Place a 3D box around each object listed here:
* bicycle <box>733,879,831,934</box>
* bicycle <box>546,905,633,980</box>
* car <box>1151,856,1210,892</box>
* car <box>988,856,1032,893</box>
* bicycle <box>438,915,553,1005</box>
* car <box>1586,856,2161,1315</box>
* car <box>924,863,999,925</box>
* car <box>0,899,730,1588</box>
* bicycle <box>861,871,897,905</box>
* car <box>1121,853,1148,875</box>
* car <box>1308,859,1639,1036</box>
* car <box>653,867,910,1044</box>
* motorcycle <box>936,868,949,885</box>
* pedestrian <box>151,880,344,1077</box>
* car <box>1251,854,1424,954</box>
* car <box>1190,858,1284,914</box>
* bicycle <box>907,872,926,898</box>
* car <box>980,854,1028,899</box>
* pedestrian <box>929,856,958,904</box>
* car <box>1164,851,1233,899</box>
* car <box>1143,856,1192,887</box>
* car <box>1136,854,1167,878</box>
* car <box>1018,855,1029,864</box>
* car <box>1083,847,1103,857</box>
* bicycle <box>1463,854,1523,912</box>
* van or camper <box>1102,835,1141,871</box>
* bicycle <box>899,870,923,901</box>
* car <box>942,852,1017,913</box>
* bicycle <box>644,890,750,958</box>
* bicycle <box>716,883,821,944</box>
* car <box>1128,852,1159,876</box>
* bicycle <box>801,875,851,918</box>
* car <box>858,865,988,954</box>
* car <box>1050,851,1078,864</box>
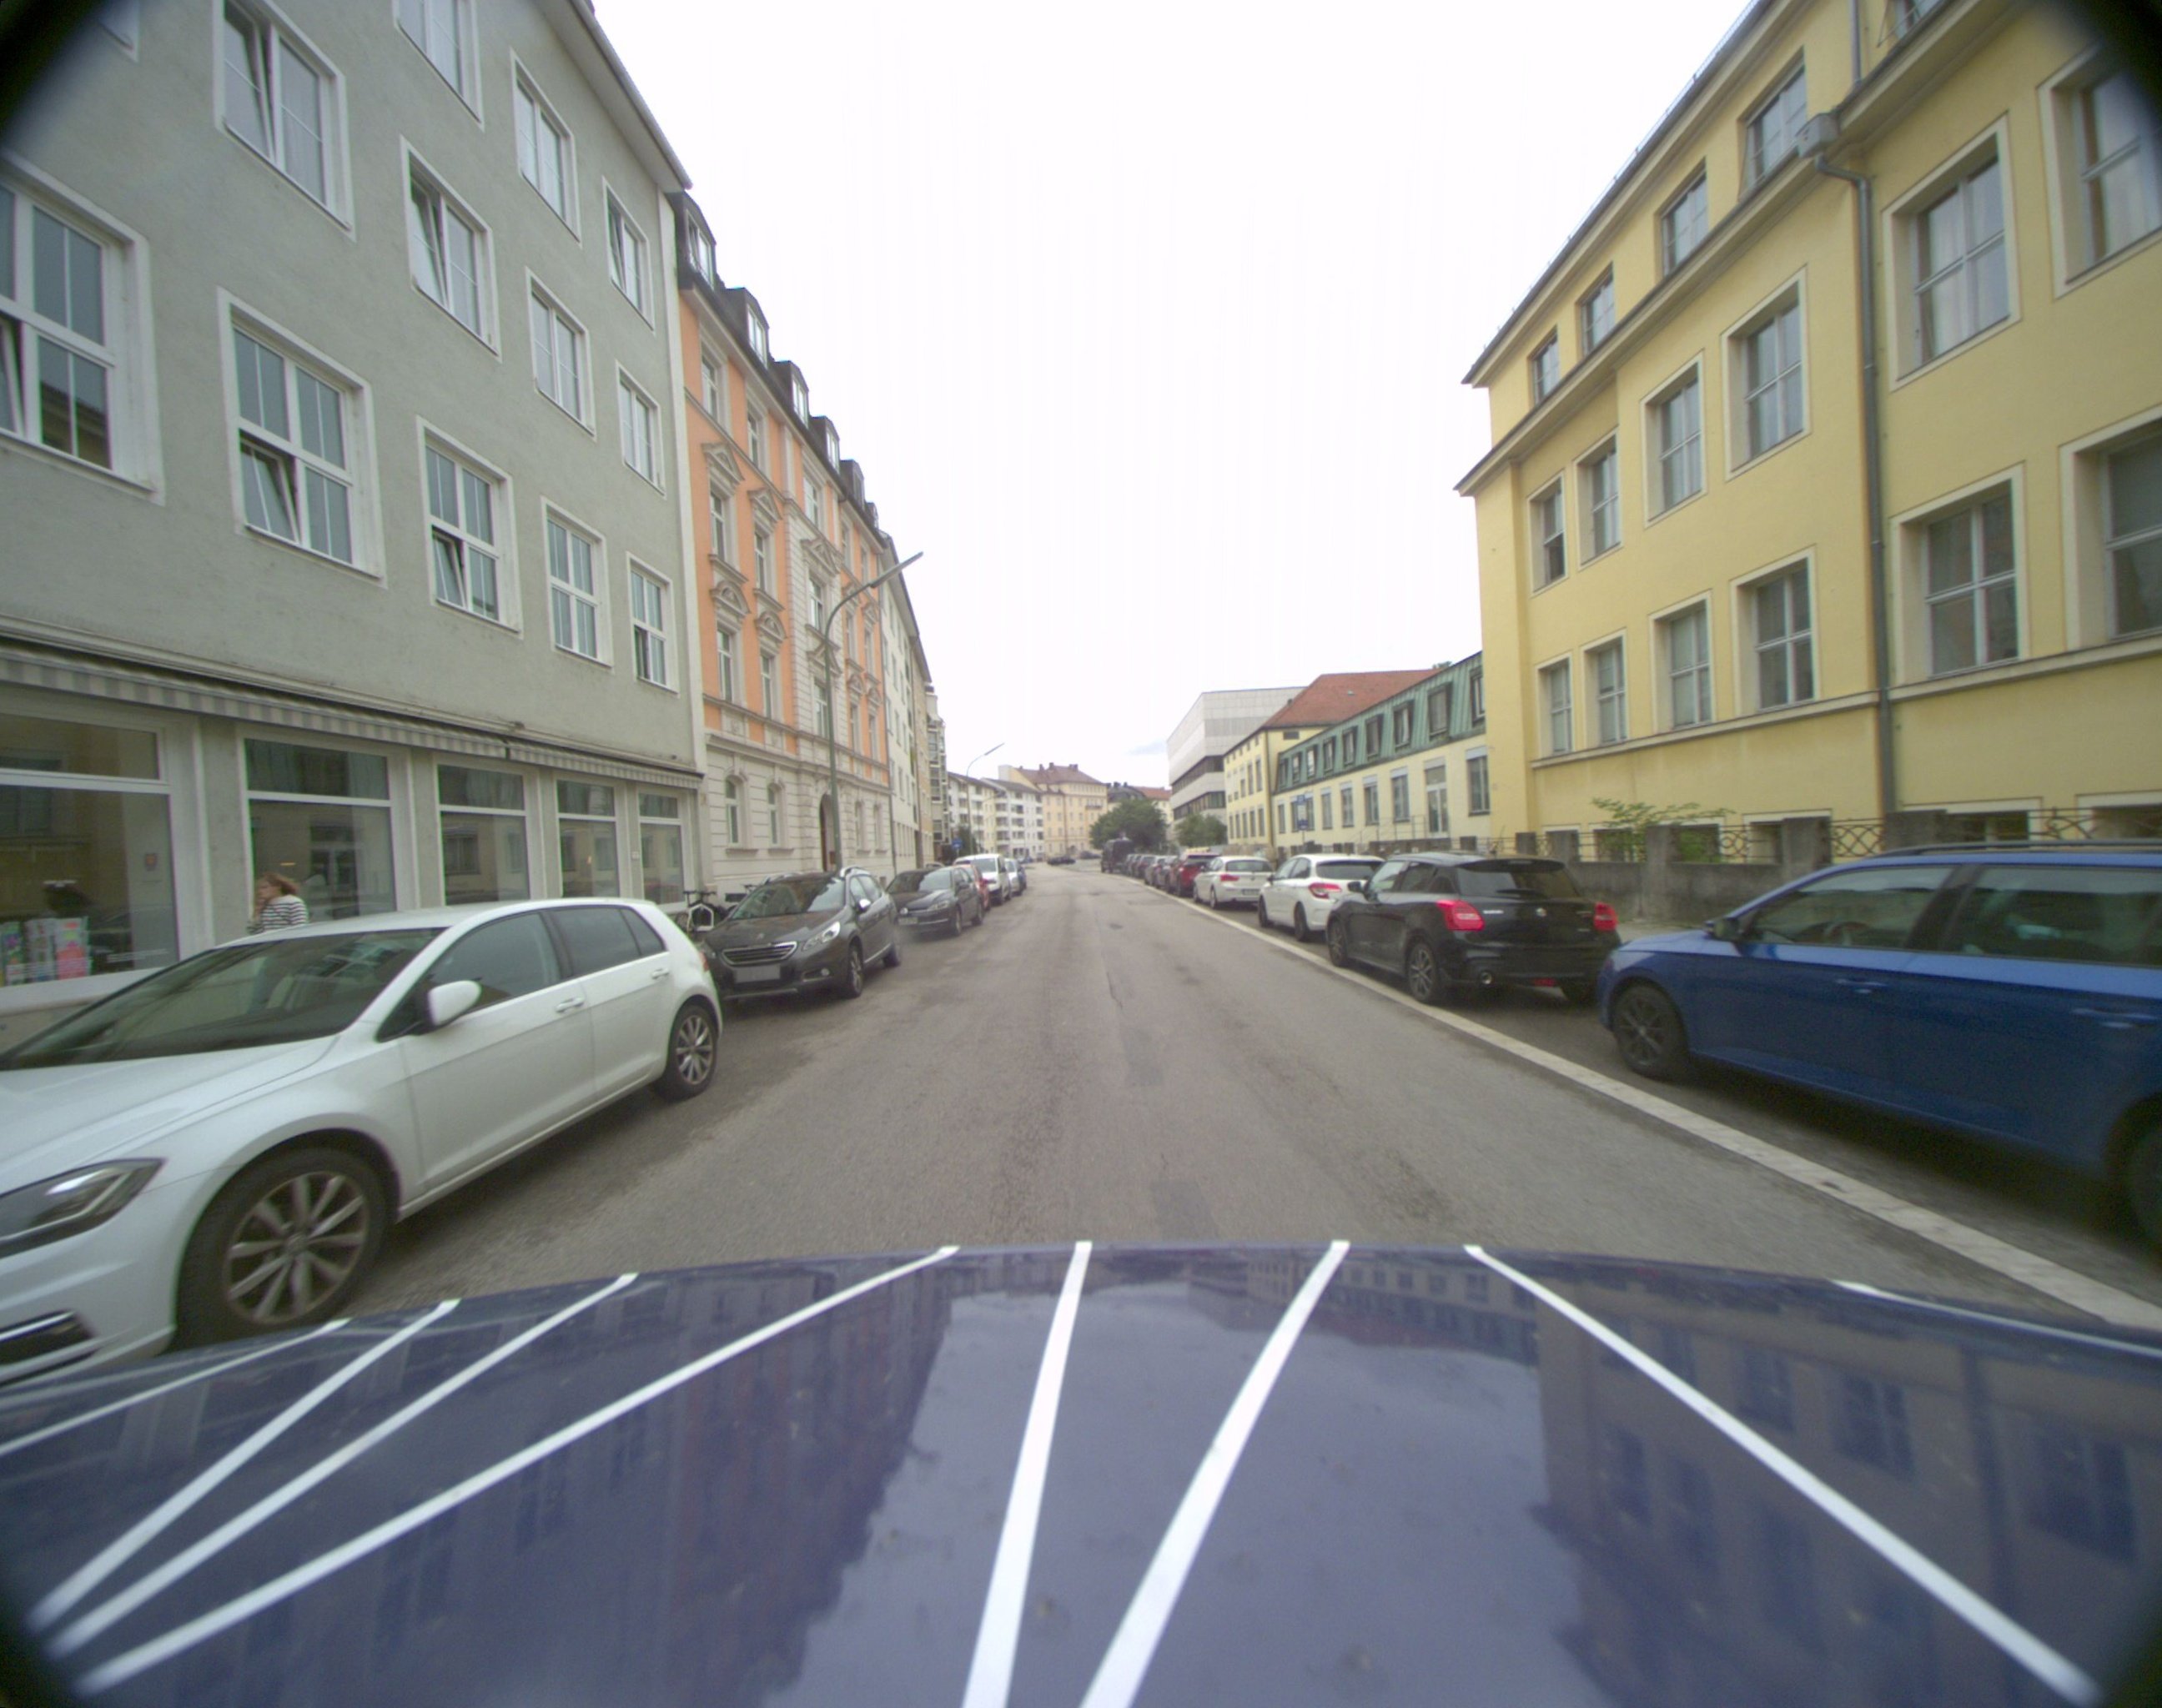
[{"bbox_3d":[-7.157,1.228,18.265,0.607,1.176,2.100,-2,-1,43],"label":"bicycle"},{"bbox_3d":[-7.802,1.372,12.122,0.331,0.998,1.521,-2,0,1],"label":"bicycle"},{"bbox_3d":[4.084,0.786,31.695,1.679,1.397,3.989,0,0,-4],"label":"car"},{"bbox_3d":[-3.499,0.976,37.978,1.745,1.578,4.200,-5,0,-1],"label":"car"},{"bbox_3d":[-7.881,1.394,10.304,0.331,0.998,1.521,-2,0,1],"label":"bicycle"},{"bbox_3d":[4.403,0.778,3.300,1.684,1.496,3.972,0,0,-2],"label":"car"},{"bbox_3d":[-3.382,1.073,22.260,1.603,1.443,4.300,-5,0,-3],"label":"car"},{"bbox_3d":[-3.555,1.155,3.590,1.696,1.455,4.083,-5,1,1],"label":"car"},{"bbox_3d":[-7.390,1.228,27.925,0.652,1.176,2.096,-2,-1,2],"label":"bicycle"},{"bbox_3d":[3.924,0.703,56.534,1.642,1.553,3.838,0,0,-2],"label":"car"},{"bbox_3d":[4.004,0.829,8.595,1.684,1.487,3.985,0,0,0],"label":"car"},{"bbox_3d":[-3.552,1.086,9.905,1.697,1.574,4.082,-6,1,-2],"label":"car"},{"bbox_3d":[-9.866,1.568,54.027,0.629,1.119,1.798,-3,0,-4],"label":"motorcycle"},{"bbox_3d":[-7.443,1.072,6.835,0.736,1.616,0.828,-2,1,1],"label":"pedestrian"},{"bbox_3d":[4.419,0.777,13.786,1.727,1.518,4.086,1,0,0],"label":"car"},{"bbox_3d":[4.255,0.816,21.278,1.679,1.390,3.996,0,0,-2],"label":"car"},{"bbox_3d":[-7.871,1.471,36.450,0.669,1.115,1.651,-4,1,-6],"label":"bicycle"},{"bbox_3d":[-3.242,0.926,32.667,1.608,1.633,3.630,-5,1,-1],"label":"car"},{"bbox_3d":[-4.943,0.919,27.343,0.863,1.652,0.647,-3,1,0],"label":"pedestrian"},{"bbox_3d":[4.047,0.689,26.827,1.679,1.557,3.996,0,0,-2],"label":"car"},{"bbox_3d":[4.124,0.787,36.914,1.798,1.397,4.126,0,0,-2],"label":"car"},{"bbox_3d":[4.357,0.722,47.353,1.699,1.397,4.000,0,0,2],"label":"car"},{"bbox_3d":[-11.225,1.069,148.620,1.756,1.445,3.570,-4,0,2],"label":"car"},{"bbox_3d":[2.418,-0.416,154.724,3.997,1.849,2.000,-2,1,1],"label":"car"},{"bbox_3d":[8.616,0.577,15.957,0.587,1.071,1.718,-5,0,12],"label":"bicycle"},{"bbox_3d":[3.279,-0.058,62.984,2.142,2.791,5.569,-2,0,-7],"label":"van or camper"},{"bbox_3d":[-6.912,1.262,31.038,0.669,1.115,1.954,-4,1,-6],"label":"bicycle"},{"bbox_3d":[-3.508,0.927,27.235,1.845,1.775,4.894,-6,0,0],"label":"car"},{"bbox_3d":[-7.481,1.317,14.965,0.771,1.068,2.458,-3,0,0],"label":"bicycle"},{"bbox_3d":[-7.096,1.327,17.342,0.607,1.176,2.099,-2,1,45],"label":"bicycle"},{"bbox_3d":[4.238,0.676,52.188,1.700,1.553,3.866,0,0,-2],"label":"car"},{"bbox_3d":[-7.385,1.207,22.136,0.652,1.176,2.096,-2,-1,2],"label":"bicycle"},{"bbox_3d":[-3.246,1.080,16.412,1.696,1.443,4.083,-5,1,2],"label":"car"},{"bbox_3d":[-2.656,0.600,118.390,4.248,1.849,1.999,-2,0,-5],"label":"car"}]
